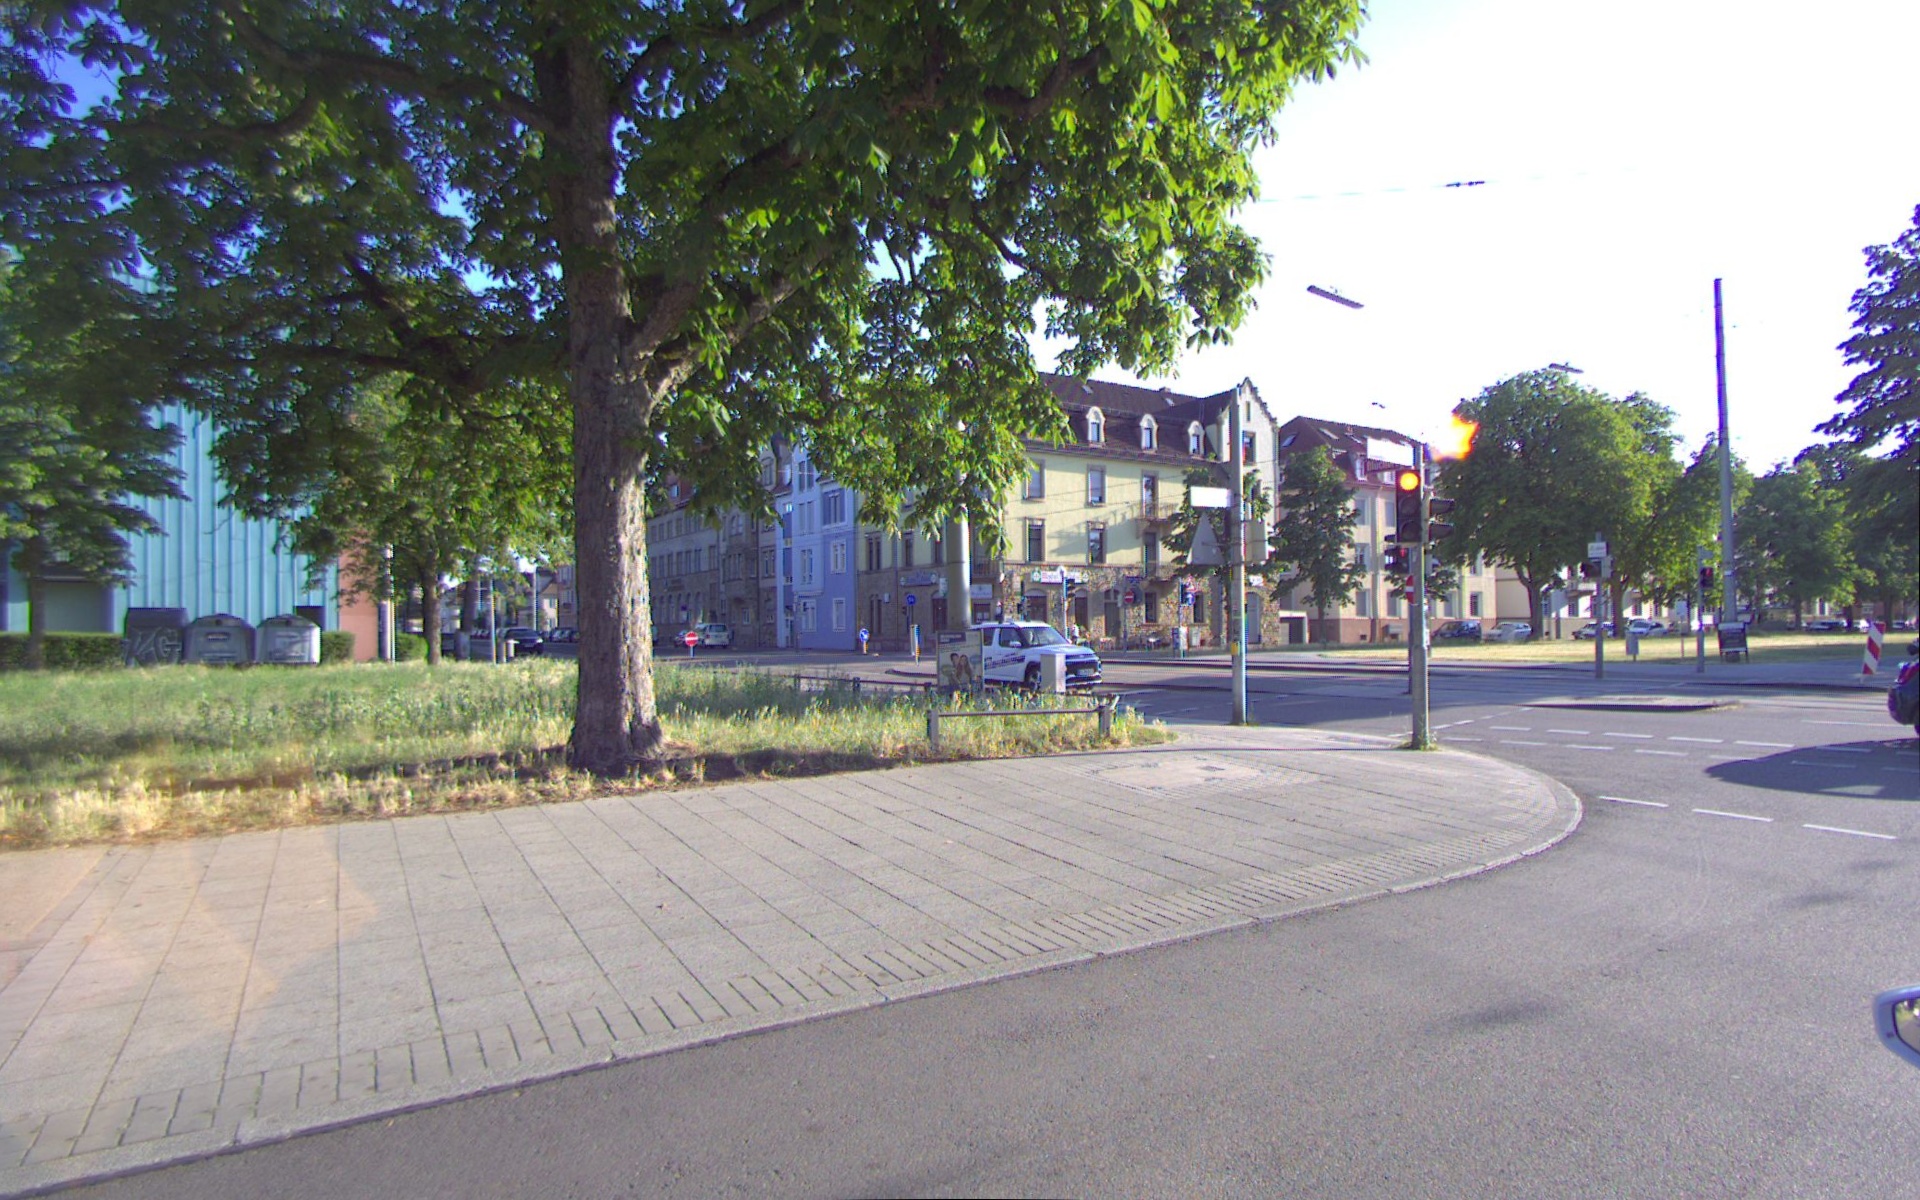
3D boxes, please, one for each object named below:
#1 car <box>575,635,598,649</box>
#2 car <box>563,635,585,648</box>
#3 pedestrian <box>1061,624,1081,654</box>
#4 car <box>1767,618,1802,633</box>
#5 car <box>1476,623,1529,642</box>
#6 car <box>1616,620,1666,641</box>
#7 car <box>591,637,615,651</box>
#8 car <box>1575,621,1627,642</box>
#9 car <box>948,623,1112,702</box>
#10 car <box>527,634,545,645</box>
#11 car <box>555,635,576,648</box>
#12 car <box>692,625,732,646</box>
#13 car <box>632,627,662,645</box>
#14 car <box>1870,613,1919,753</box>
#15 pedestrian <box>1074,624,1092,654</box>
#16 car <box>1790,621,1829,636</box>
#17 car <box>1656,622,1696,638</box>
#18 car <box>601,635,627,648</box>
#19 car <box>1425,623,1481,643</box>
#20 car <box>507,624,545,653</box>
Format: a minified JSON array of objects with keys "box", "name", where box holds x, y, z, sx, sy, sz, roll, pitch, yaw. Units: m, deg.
[{"box":[-42.309,4.742,113.741,1.867,1.433,4.013,0,-2,-29],"name":"car"},{"box":[-45.394,4.890,118.203,1.867,1.433,4.013,0,-2,-29],"name":"car"},{"box":[6.276,2.212,56.765,0.808,1.664,0.718,0,-1,-37],"name":"pedestrian"},{"box":[86.585,2.671,105.497,3.749,1.446,1.729,0,-1,-31],"name":"car"},{"box":[41.429,2.463,76.666,3.741,1.446,1.732,0,-1,-26],"name":"car"},{"box":[51.908,2.331,76.560,3.749,1.446,1.729,-1,0,-31],"name":"car"},{"box":[-38.828,4.756,109.118,1.867,1.433,4.013,0,-2,-29],"name":"car"},{"box":[46.756,2.274,73.258,3.749,1.446,1.729,0,-1,-31],"name":"car"},{"box":[1.496,1.330,22.785,1.597,1.572,3.837,-2,0,-37],"name":"car"},{"box":[-57.075,5.266,135.228,1.867,1.433,4.013,0,-2,-29],"name":"car"},{"box":[-48.252,5.049,122.706,1.867,1.433,4.013,0,-1,-29],"name":"car"},{"box":[-19.476,2.796,78.803,2.074,1.612,4.014,2,-2,-29],"name":"car"},{"box":[-29.513,3.400,94.575,1.888,1.610,4.013,2,-2,-29],"name":"car"},{"box":[12.035,0.868,10.493,1.599,1.517,3.565,0,-2,-41],"name":"car"},{"box":[7.041,2.224,57.515,0.715,1.664,0.811,0,-1,-23],"name":"pedestrian"},{"box":[80.676,2.693,95.364,3.749,1.446,1.729,1,-1,-31],"name":"car"},{"box":[66.386,2.799,93.151,3.749,1.446,1.729,1,-1,-31],"name":"car"},{"box":[-35.911,4.267,104.216,1.867,1.299,4.013,0,-2,-29],"name":"car"},{"box":[35.991,2.428,73.280,3.741,1.416,1.733,0,-1,-26],"name":"car"},{"box":[-26.364,2.289,60.973,1.855,1.685,4.532,0,-1,-27],"name":"car"}]
